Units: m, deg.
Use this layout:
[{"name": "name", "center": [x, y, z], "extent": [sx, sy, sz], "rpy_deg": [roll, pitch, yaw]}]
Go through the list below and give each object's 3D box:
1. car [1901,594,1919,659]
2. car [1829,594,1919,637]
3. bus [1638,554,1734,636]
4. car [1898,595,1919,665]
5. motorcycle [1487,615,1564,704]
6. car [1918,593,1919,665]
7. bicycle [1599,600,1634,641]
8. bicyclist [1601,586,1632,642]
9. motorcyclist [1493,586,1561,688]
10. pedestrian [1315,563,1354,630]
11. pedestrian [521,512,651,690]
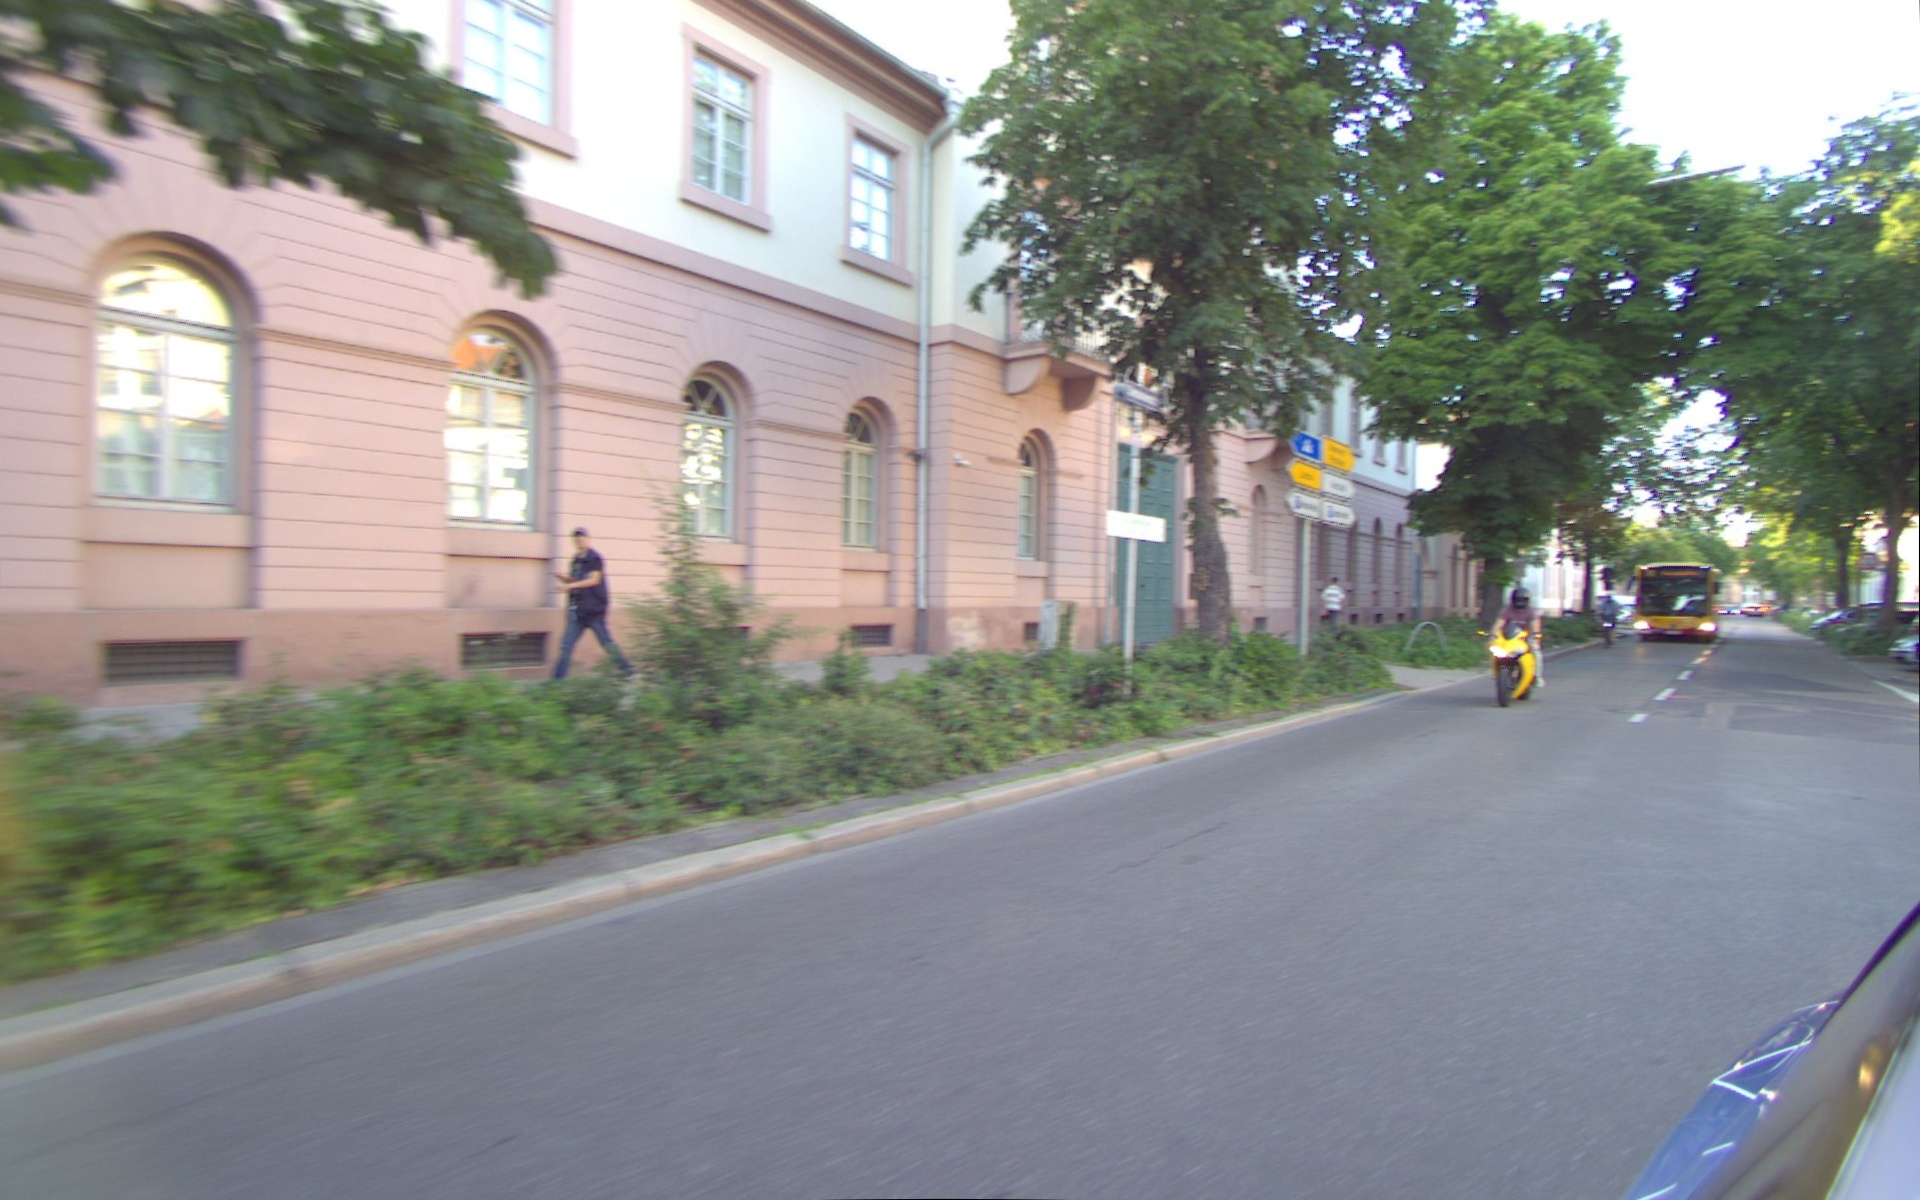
[{"name": "car", "center": [26.159, 0.716, 25.076], "extent": [3.978, 1.635, 1.700], "rpy_deg": [2, 1, 38]}, {"name": "car", "center": [37.899, 0.614, 40.967], "extent": [3.978, 1.635, 1.700], "rpy_deg": [2, 1, 38]}, {"name": "bus", "center": [30.913, -0.182, 42.826], "extent": [2.699, 3.038, 11.913], "rpy_deg": [-1, 0, 38]}, {"name": "car", "center": [24.495, 0.743, 23.344], "extent": [3.978, 1.635, 1.700], "rpy_deg": [2, 1, 38]}, {"name": "motorcycle", "center": [8.224, 0.816, 14.677], "extent": [0.788, 1.175, 1.942], "rpy_deg": [0, 0, 35]}, {"name": "car", "center": [23.140, 0.722, 21.397], "extent": [3.978, 1.635, 1.804], "rpy_deg": [2, 1, 37]}, {"name": "bicycle", "center": [22.263, 0.681, 34.299], "extent": [0.780, 1.347, 2.049], "rpy_deg": [-1, -1, 38]}, {"name": "bicyclist", "center": [22.228, 0.456, 34.260], "extent": [0.780, 1.863, 0.815], "rpy_deg": [-1, -1, 39]}, {"name": "motorcyclist", "center": [8.266, 0.515, 14.753], "extent": [0.788, 1.438, 0.690], "rpy_deg": [0, -1, 36]}, {"name": "pedestrian", "center": [10.579, -0.102, 28.573], "extent": [0.796, 1.855, 0.917], "rpy_deg": [1, 0, 37]}, {"name": "pedestrian", "center": [-4.143, -0.007, 11.221], "extent": [1.064, 1.861, 0.799], "rpy_deg": [1, 2, -44]}]
